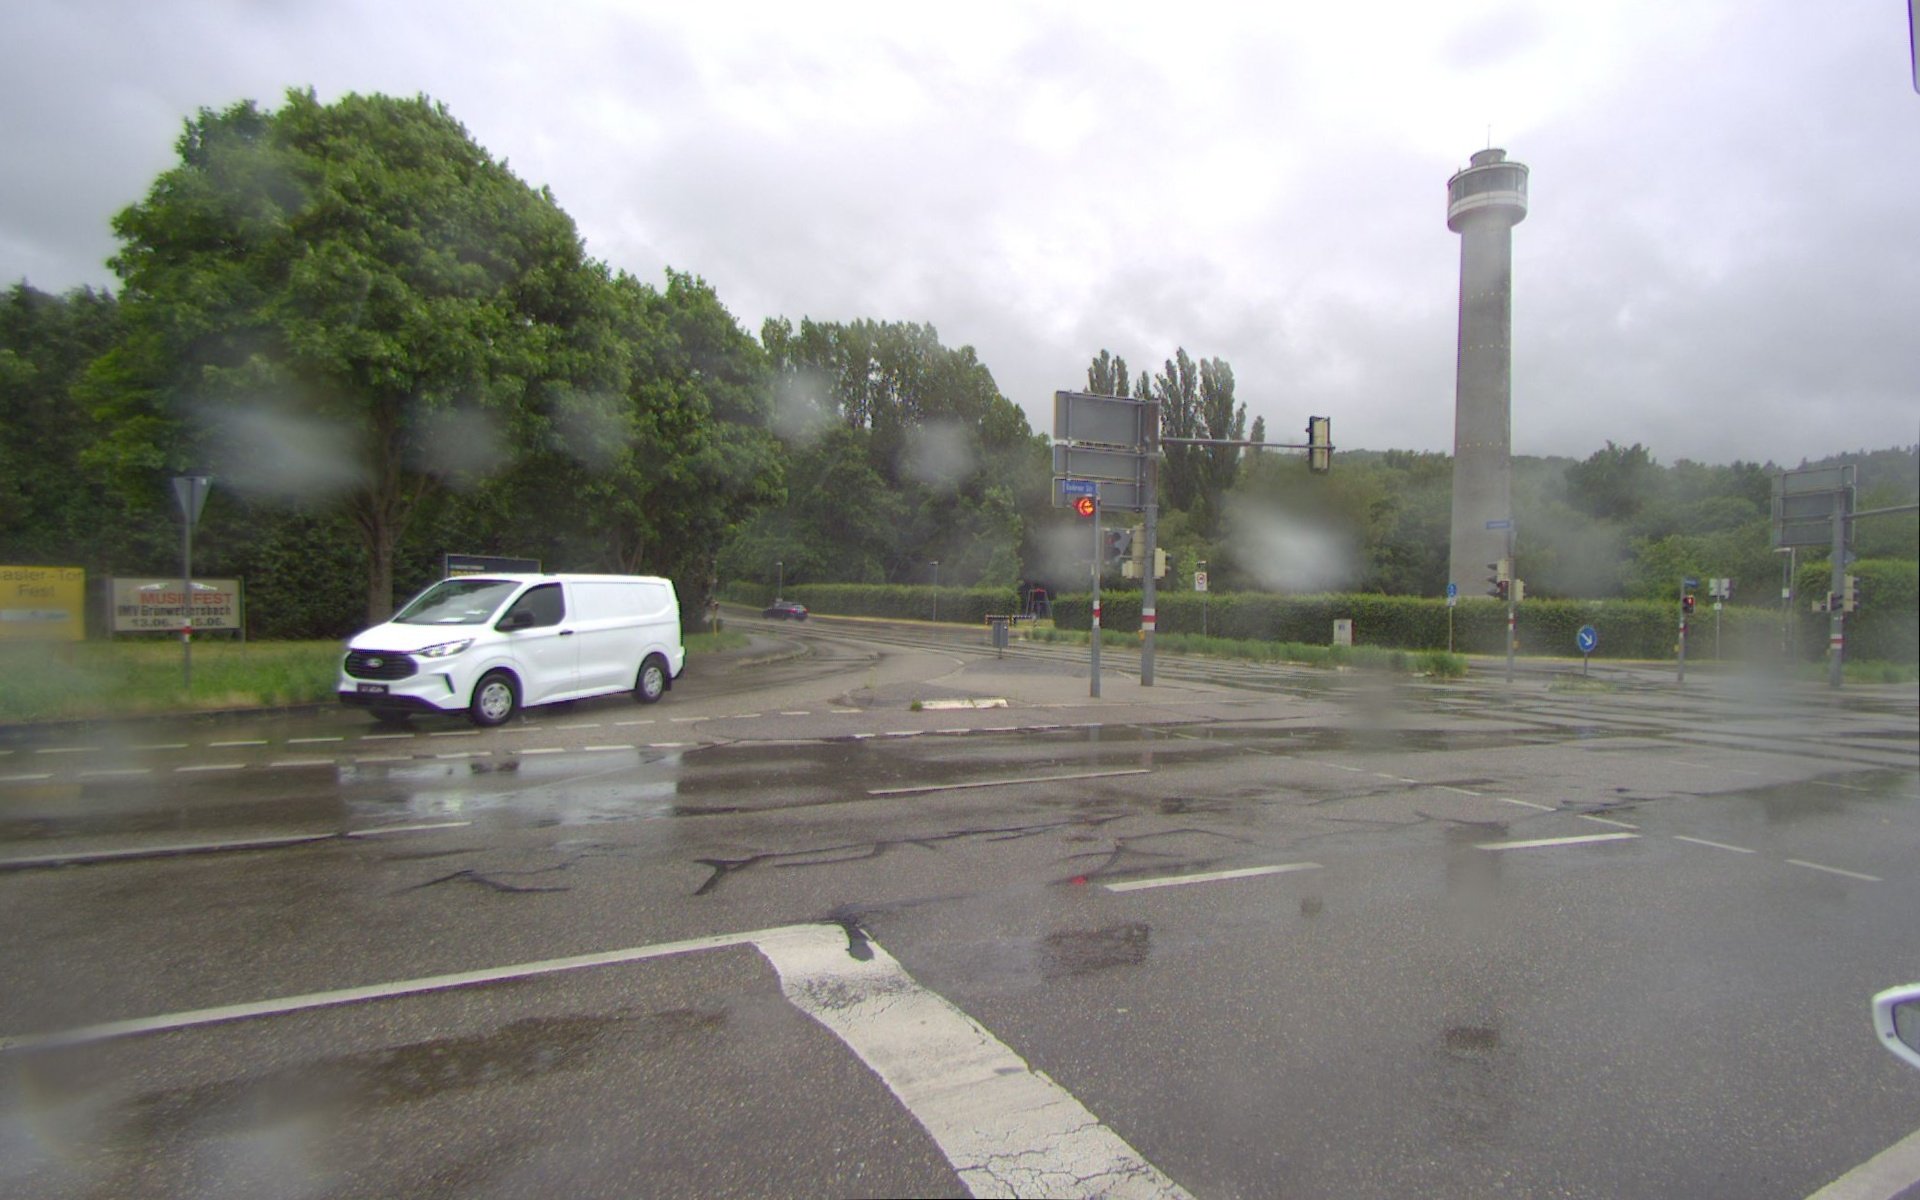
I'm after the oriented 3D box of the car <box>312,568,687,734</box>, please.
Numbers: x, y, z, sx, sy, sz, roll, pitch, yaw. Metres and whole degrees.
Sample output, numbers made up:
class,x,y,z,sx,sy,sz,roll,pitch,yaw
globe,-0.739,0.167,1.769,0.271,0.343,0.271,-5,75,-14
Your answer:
class,x,y,z,sx,sy,sz,roll,pitch,yaw
car,-6.190,0.610,14.267,2.071,1.917,4.791,1,0,20

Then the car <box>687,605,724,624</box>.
class,x,y,z,sx,sy,sz,roll,pitch,yaw
car,-22.842,1.296,90.027,1.746,1.606,4.073,2,-1,-39

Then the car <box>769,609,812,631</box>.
class,x,y,z,sx,sy,sz,roll,pitch,yaw
car,-12.991,1.525,76.825,1.744,1.606,4.079,1,-1,-35
